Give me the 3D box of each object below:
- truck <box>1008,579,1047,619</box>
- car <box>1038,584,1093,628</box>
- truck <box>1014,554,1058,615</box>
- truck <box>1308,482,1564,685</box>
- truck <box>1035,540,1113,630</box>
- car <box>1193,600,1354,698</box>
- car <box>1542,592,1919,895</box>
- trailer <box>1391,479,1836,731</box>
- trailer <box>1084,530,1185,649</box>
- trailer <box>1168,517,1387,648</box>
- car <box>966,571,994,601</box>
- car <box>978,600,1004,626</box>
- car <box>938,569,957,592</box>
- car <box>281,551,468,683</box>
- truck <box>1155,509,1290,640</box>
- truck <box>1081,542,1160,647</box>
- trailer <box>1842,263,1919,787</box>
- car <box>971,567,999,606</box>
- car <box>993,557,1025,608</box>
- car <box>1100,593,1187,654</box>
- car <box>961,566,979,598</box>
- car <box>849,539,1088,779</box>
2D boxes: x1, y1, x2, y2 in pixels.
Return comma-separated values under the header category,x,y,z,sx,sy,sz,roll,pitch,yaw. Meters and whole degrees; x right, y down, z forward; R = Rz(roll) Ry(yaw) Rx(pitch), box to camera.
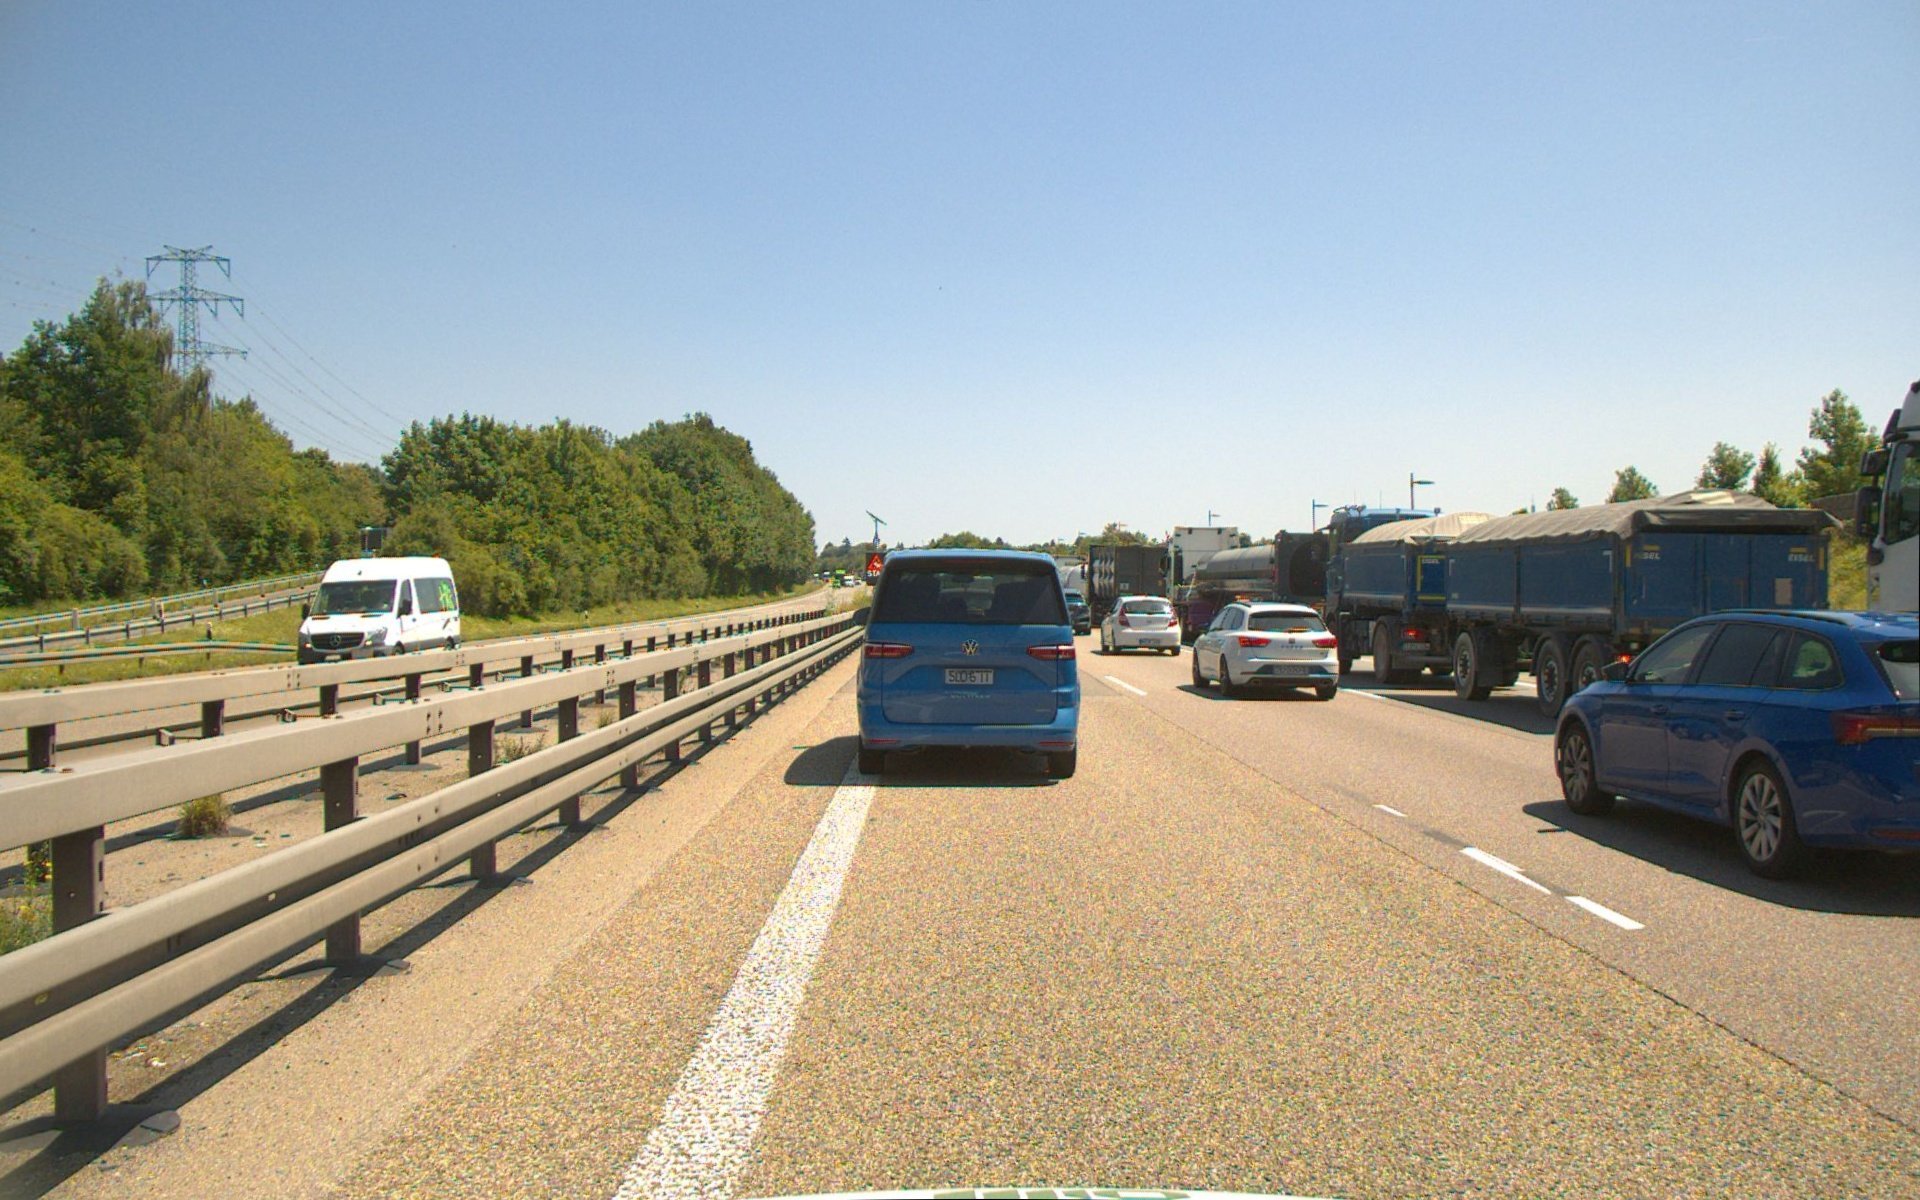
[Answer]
category,x,y,z,sx,sy,sz,roll,pitch,yaw
truck,3.373,-0.031,83.103,1.690,1.890,3.999,1,-1,-1
car,3.942,0.234,62.138,1.744,1.551,3.999,1,-1,-1
truck,6.421,-1.228,141.557,3.006,5.006,10.687,1,-1,-1
truck,8.753,-0.331,31.369,2.688,3.369,7.132,1,1,-1
truck,7.125,-0.809,106.365,3.548,5.304,15.684,1,-1,-1
car,4.866,0.715,26.196,1.829,1.385,4.000,1,0,1
car,5.234,0.731,10.264,1.671,1.466,4.427,1,-1,0
trailer,8.787,-0.015,23.777,2.688,2.886,9.115,1,1,0
trailer,8.253,-0.397,80.025,3.571,5.226,13.075,1,-1,0
trailer,8.729,-0.349,48.190,3.571,3.133,15.773,1,-1,1
car,1.913,-1.367,160.813,2.499,2.765,5.620,1,-1,-1
car,2.474,1.048,133.973,1.953,2.049,3.999,1,-1,-1
car,-1.975,-2.959,251.983,2.436,3.260,7.366,1,-1,-4
car,-12.771,0.380,36.528,2.112,2.639,5.888,-1,-1,-1
truck,8.938,-0.783,57.294,3.551,4.166,7.525,1,-1,1
truck,8.318,-0.256,86.496,3.583,5.270,5.709,1,-1,1
trailer,8.969,-0.553,10.832,2.865,4.114,6.410,1,0,-1
car,3.530,-1.859,232.763,3.155,5.349,8.137,1,-1,-4
car,5.322,-1.873,180.670,3.153,5.349,8.142,1,-1,-1
car,4.753,0.603,43.336,1.803,1.480,3.999,1,-1,0
car,1.565,-2.750,263.179,2.661,4.795,11.558,1,-1,-1
car,0.090,0.486,15.101,1.862,1.870,4.000,1,-1,1
